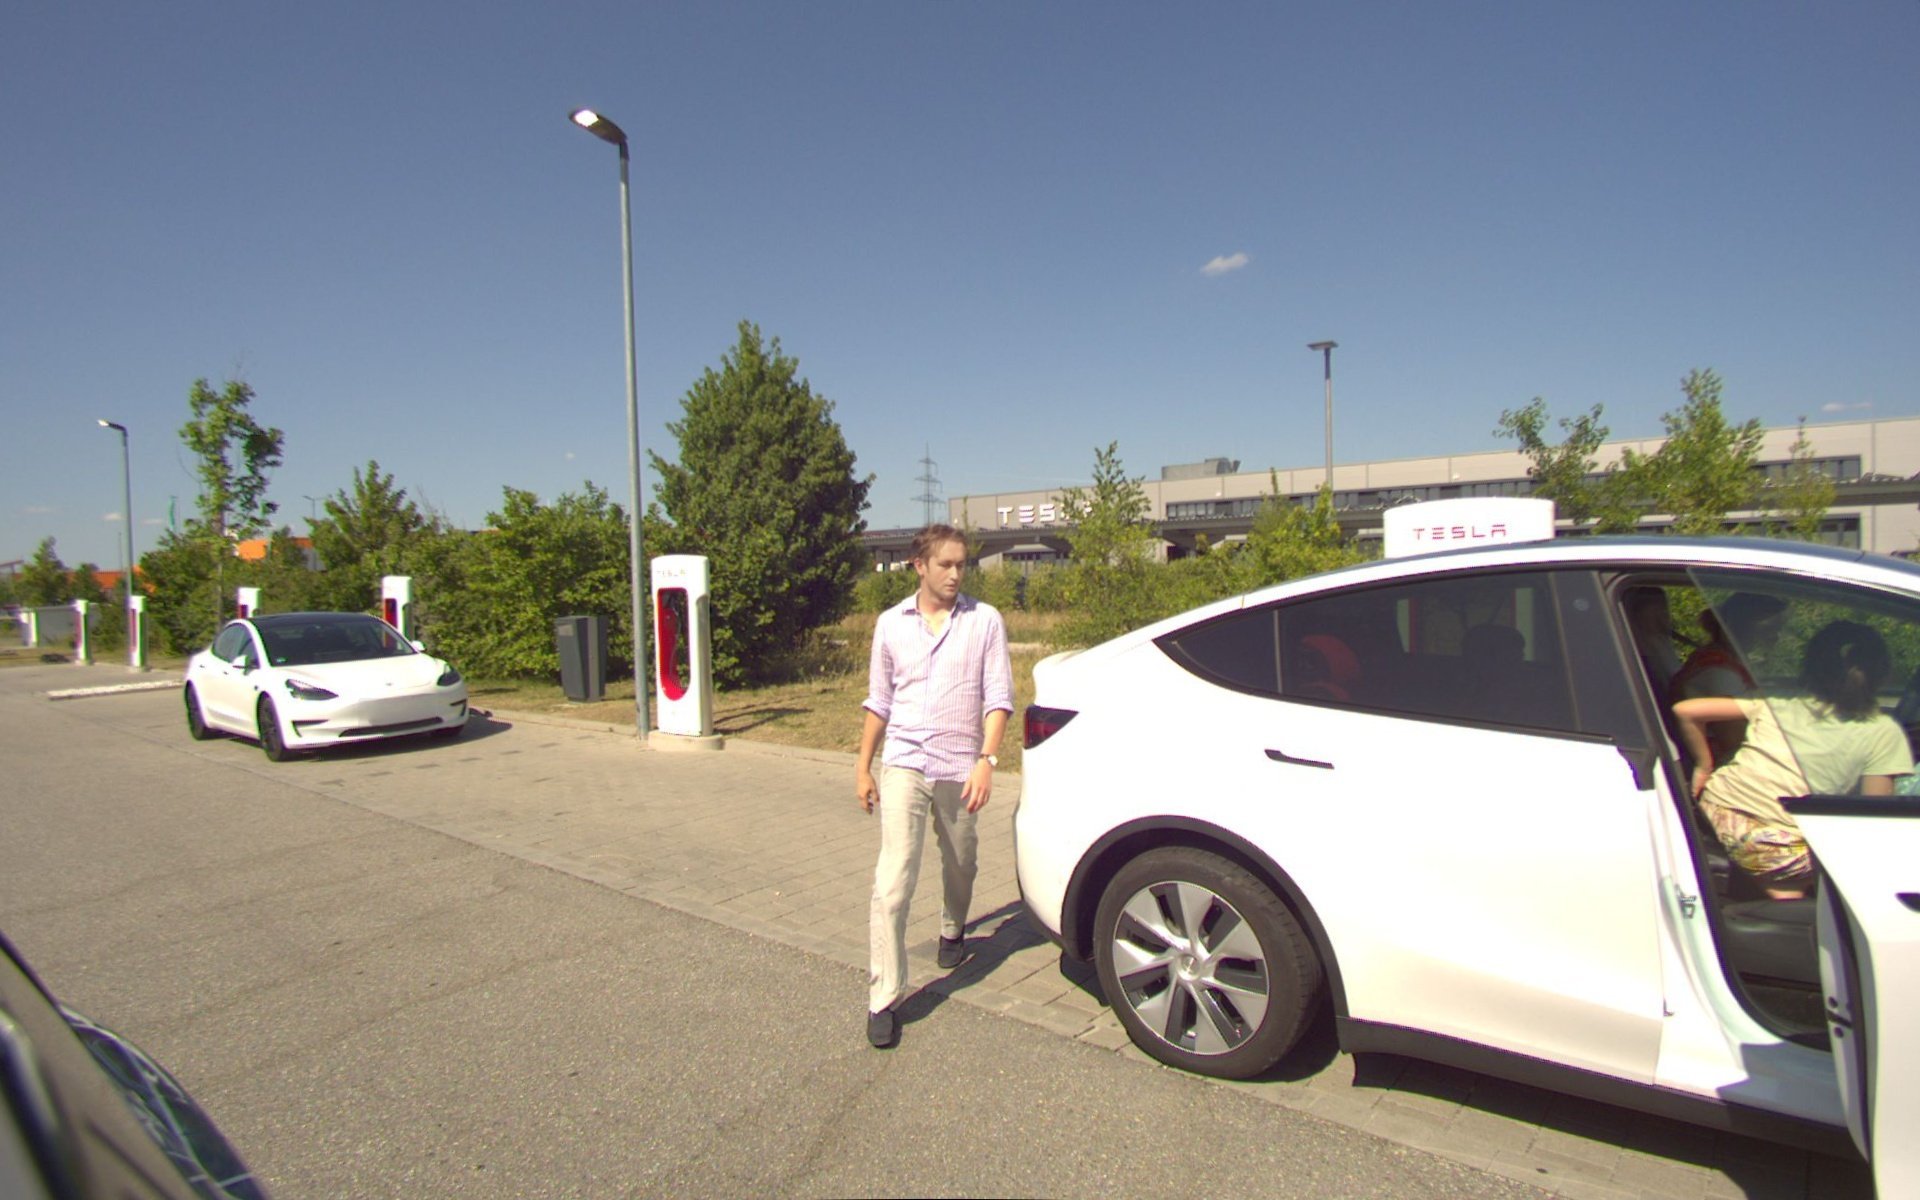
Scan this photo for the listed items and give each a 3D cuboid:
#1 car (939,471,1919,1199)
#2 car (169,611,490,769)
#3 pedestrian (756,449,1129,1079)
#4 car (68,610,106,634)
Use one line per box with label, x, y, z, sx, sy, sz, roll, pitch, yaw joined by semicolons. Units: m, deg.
car;2.263;0.520;2.959;4.484;1.612;1.846;-1;1;39
car;-7.285;0.888;11.501;4.445;1.388;1.798;-2;1;40
pedestrian;-0.080;0.470;3.537;1.036;1.814;0.726;-2;1;45
car;-77.470;1.968;89.785;3.997;2.029;1.973;-2;0;40
